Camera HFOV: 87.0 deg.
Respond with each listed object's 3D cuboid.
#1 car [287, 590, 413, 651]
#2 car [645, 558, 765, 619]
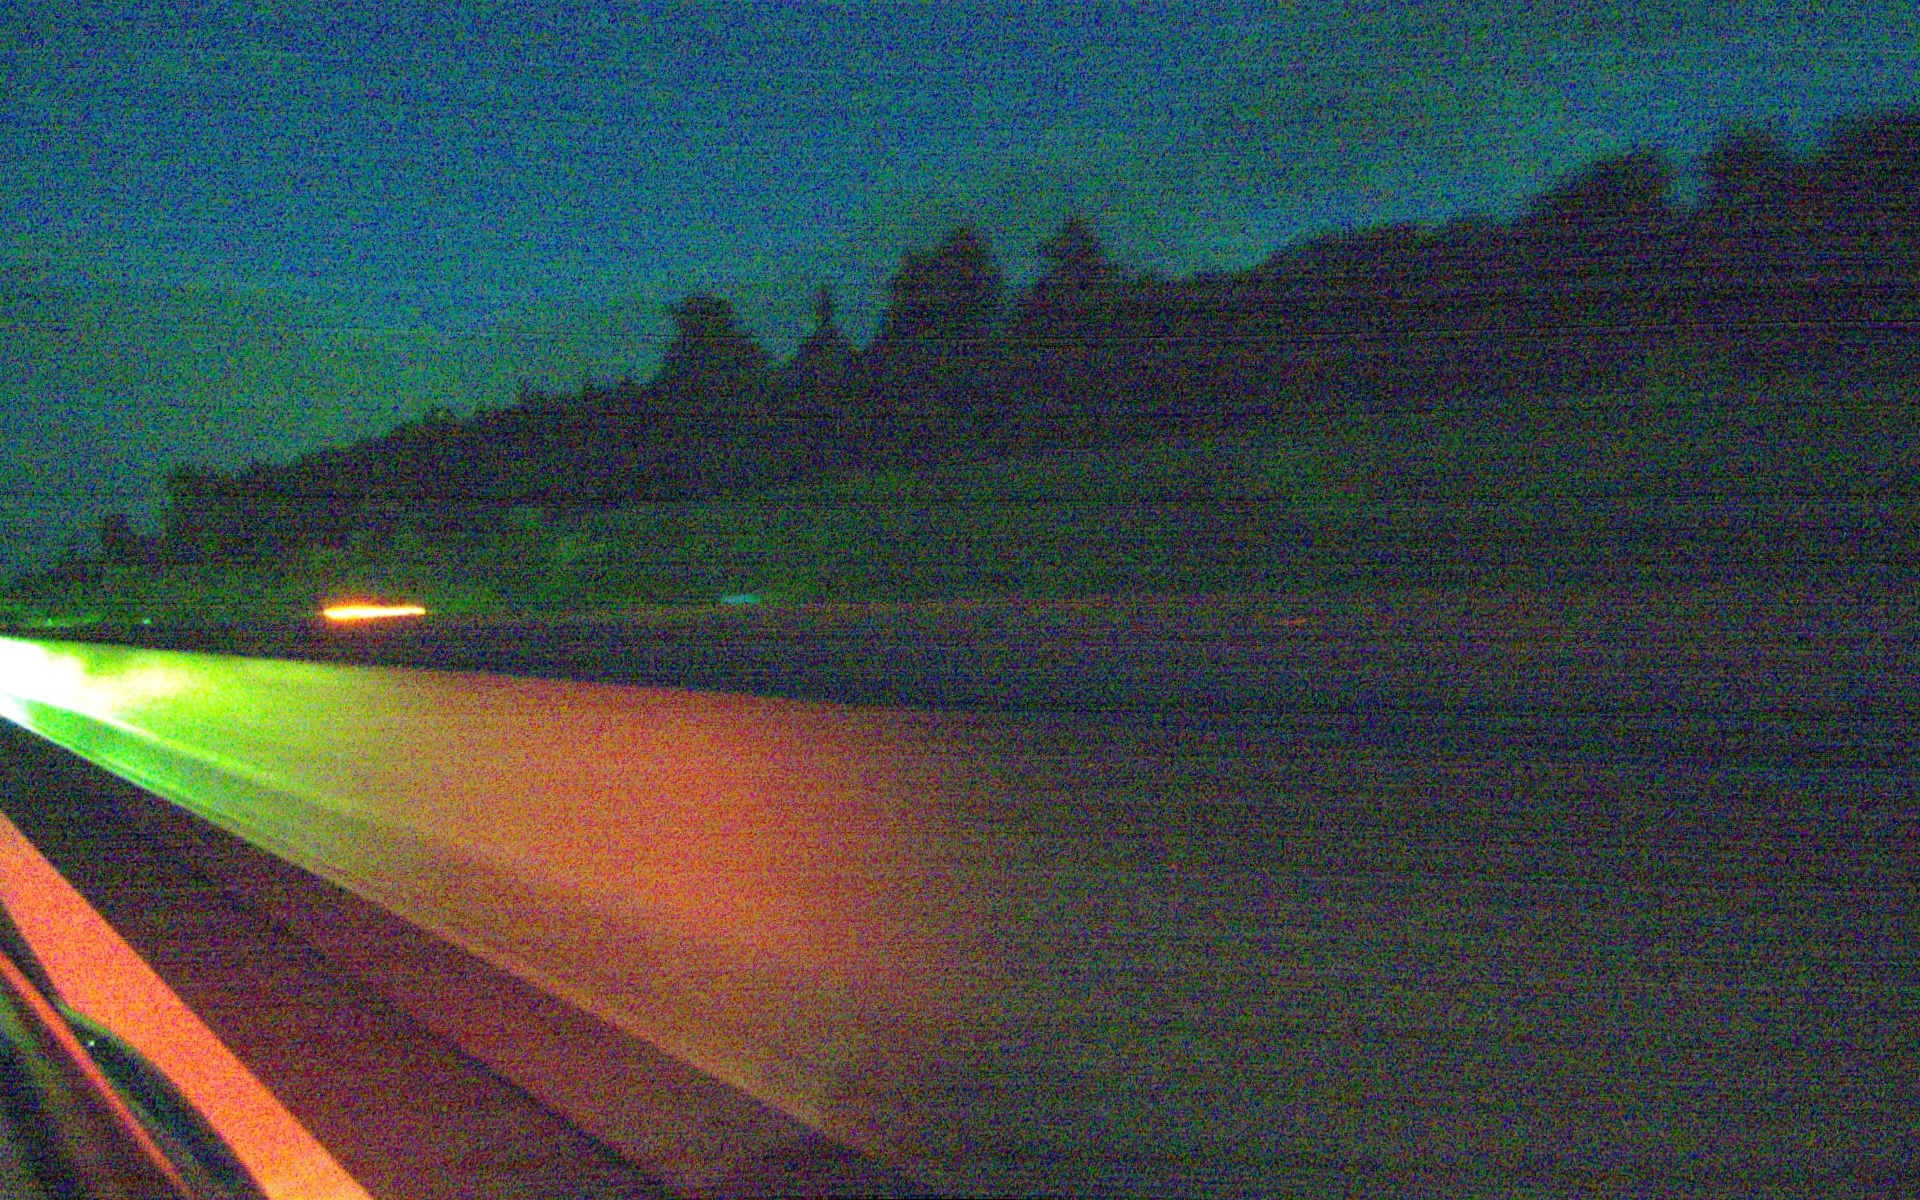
[{"bbox_3d":[-20.426,0.706,33.797,5.166,1.789,1.973,-2,1,40],"label":"car"},{"bbox_3d":[-8.648,-0.337,34.141,3.996,1.940,1.973,-1,-1,40],"label":"car"}]
